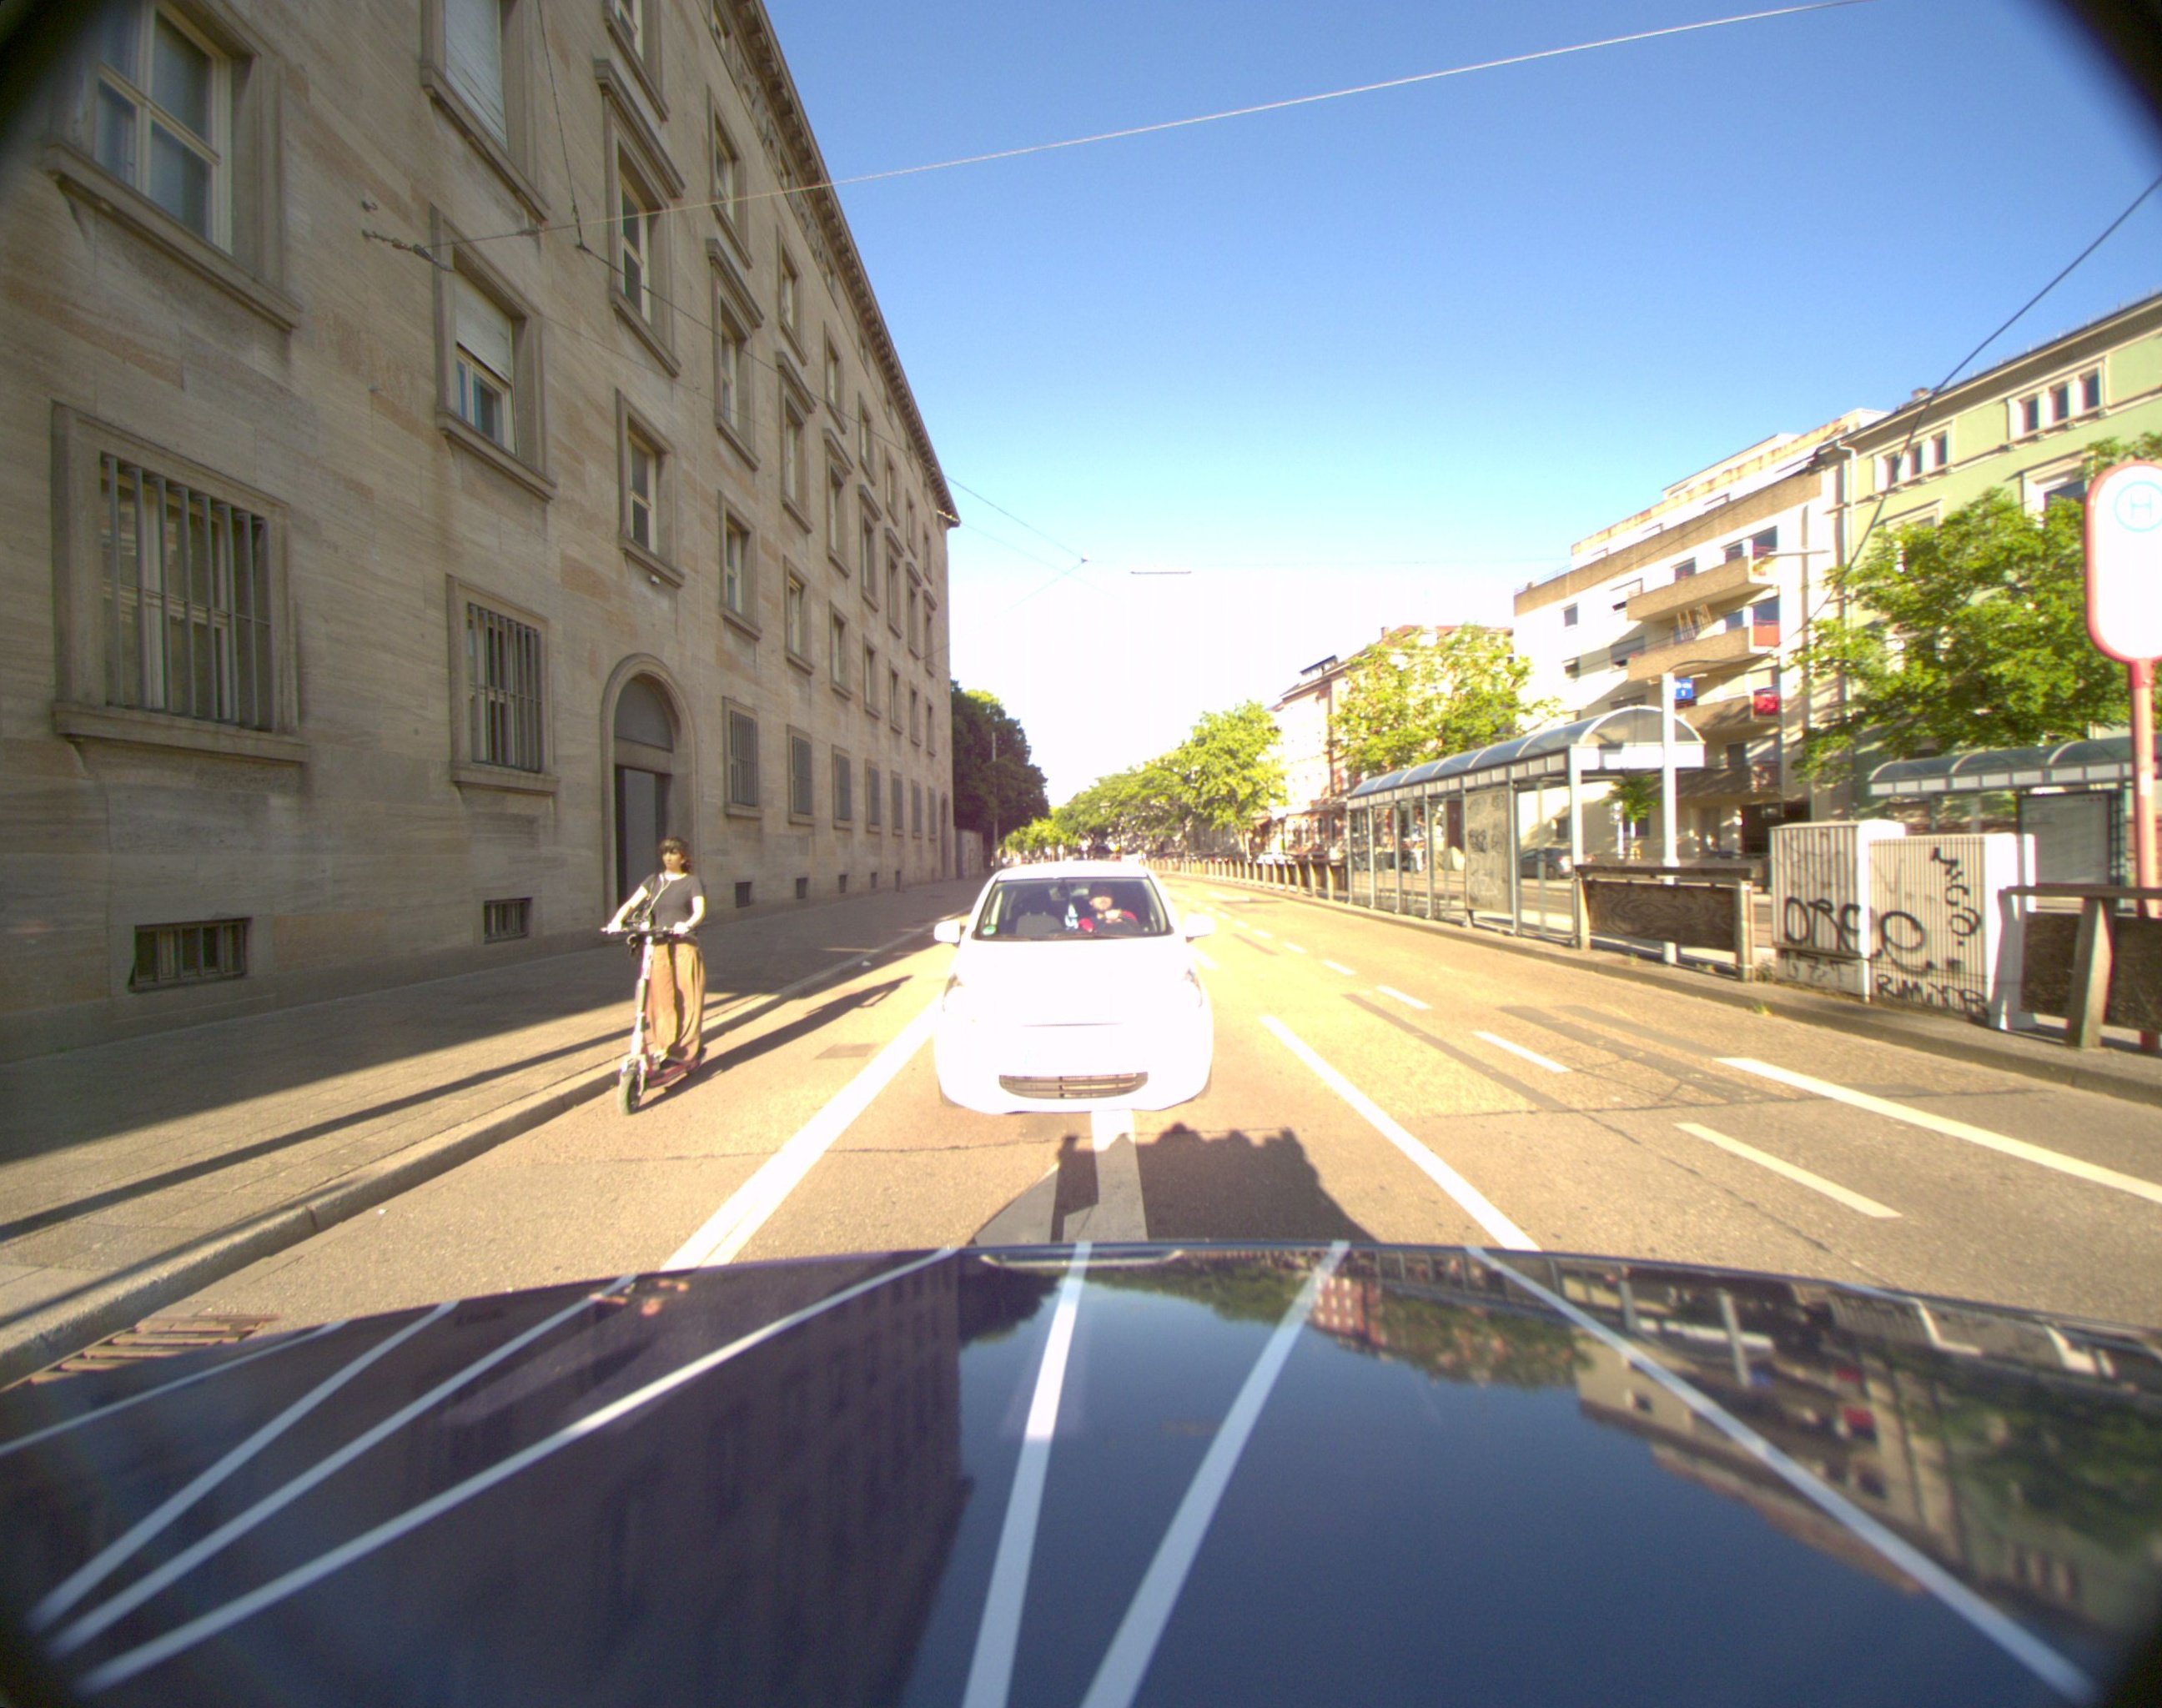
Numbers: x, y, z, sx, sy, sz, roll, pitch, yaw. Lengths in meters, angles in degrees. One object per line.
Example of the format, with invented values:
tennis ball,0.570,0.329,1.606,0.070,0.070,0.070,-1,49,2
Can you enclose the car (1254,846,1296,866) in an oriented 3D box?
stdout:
car,16.253,0.155,63.462,3.607,1.558,1.627,-3,1,-42

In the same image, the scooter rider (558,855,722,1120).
scooter rider,-2.916,0.844,5.079,0.731,1.661,0.556,-1,1,0

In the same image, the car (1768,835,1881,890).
car,23.882,0.226,24.388,3.605,1.558,1.627,-3,1,-29

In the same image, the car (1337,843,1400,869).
car,19.539,0.124,51.708,3.599,1.558,1.630,-2,1,-7

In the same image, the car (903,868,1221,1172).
car,-0.074,0.907,5.792,1.612,1.462,3.631,-2,0,1

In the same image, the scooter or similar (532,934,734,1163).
scooter or similar,-2.901,1.201,5.074,0.536,1.178,1.328,-1,0,0

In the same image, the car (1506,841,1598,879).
car,20.912,0.232,33.918,1.631,1.558,3.598,-2,1,-5

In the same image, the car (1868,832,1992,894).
car,24.461,0.232,21.876,3.605,1.558,1.627,-3,1,-29
